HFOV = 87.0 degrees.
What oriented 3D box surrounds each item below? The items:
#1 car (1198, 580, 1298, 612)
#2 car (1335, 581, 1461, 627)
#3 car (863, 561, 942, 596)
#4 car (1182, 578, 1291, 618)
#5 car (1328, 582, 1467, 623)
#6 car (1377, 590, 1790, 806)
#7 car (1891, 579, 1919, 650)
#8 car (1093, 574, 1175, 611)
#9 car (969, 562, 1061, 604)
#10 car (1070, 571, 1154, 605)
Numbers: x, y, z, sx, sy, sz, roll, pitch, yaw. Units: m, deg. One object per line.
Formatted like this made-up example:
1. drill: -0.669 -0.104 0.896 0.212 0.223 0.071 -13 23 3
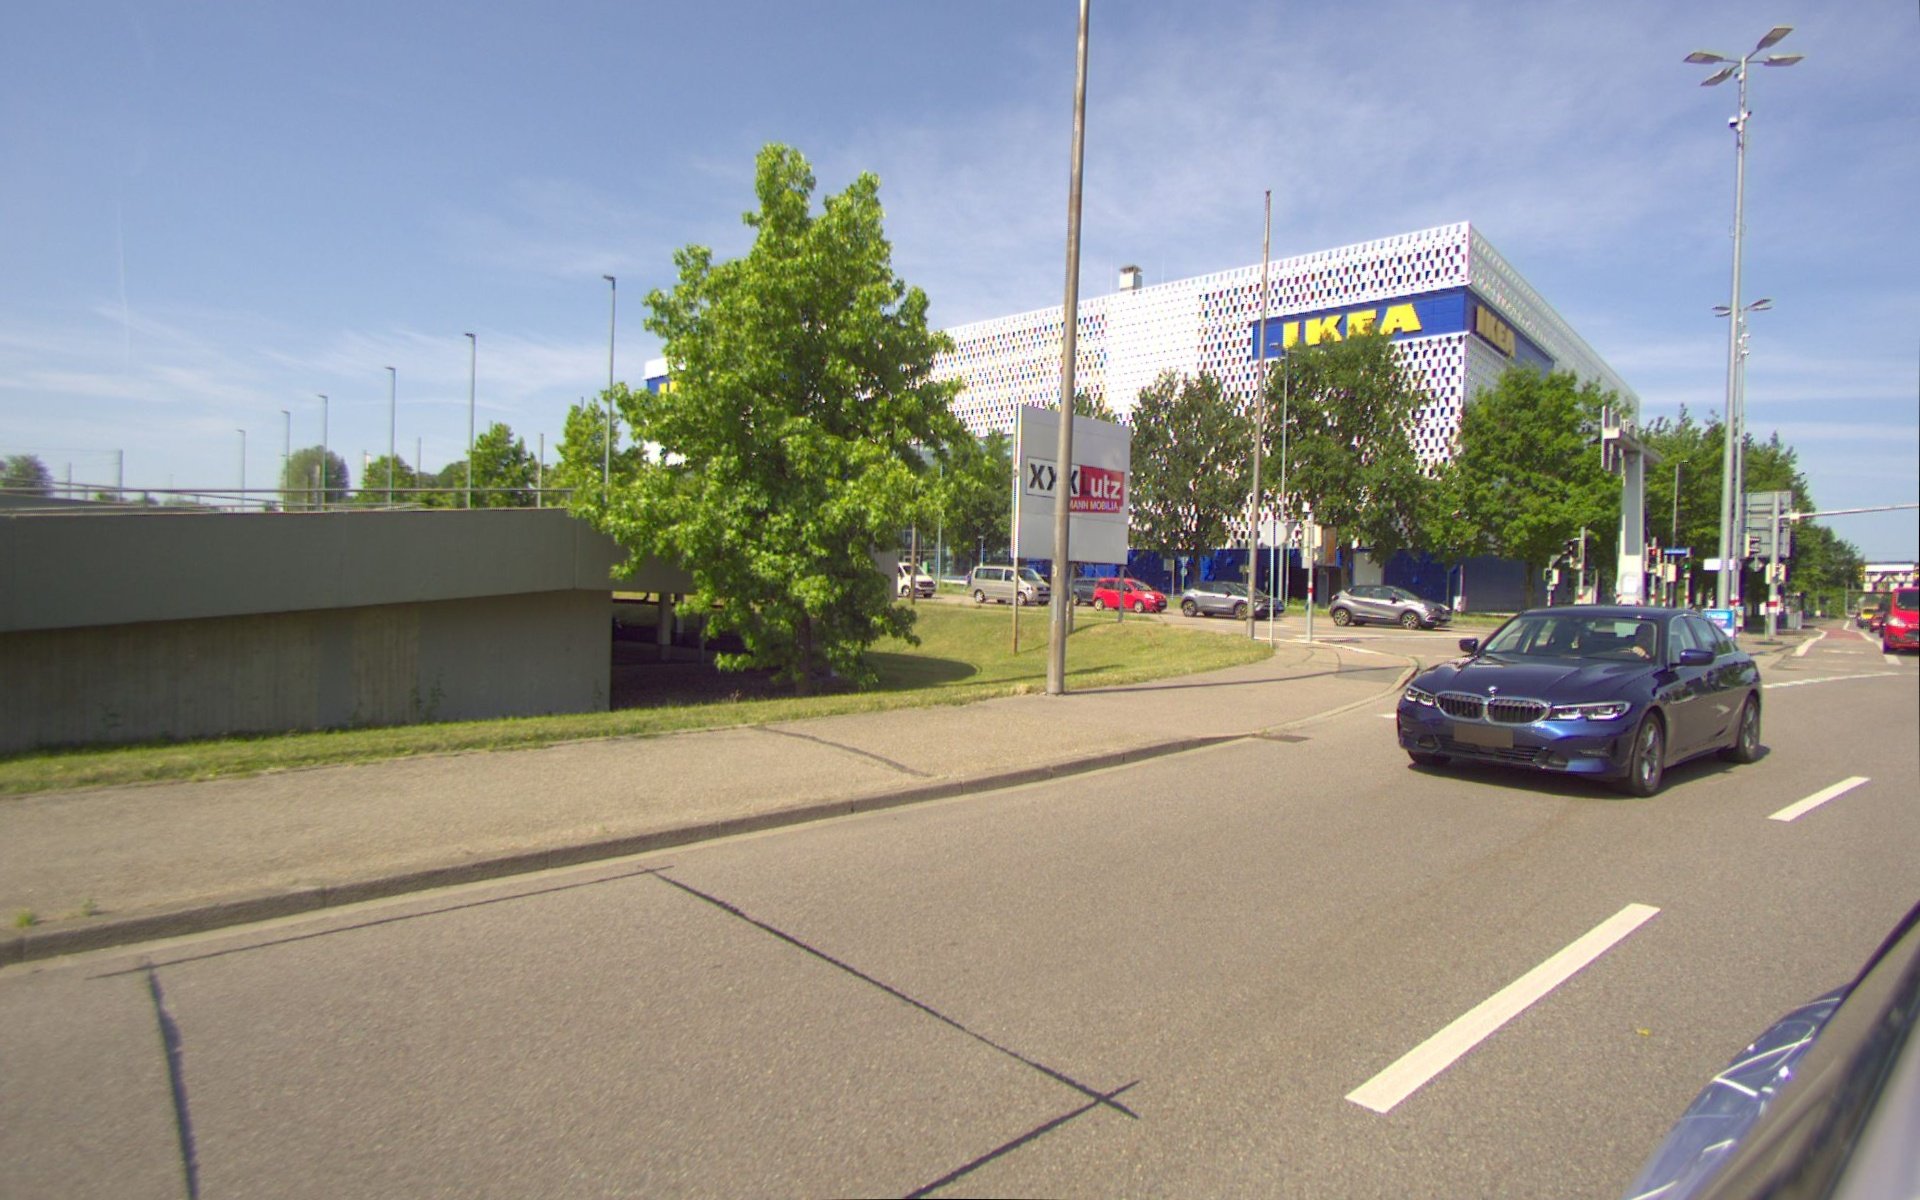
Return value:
1. car: 12.923 -0.216 45.600 1.696 1.359 4.047 0 2 -44
2. car: 16.160 0.116 37.426 1.778 1.578 3.889 1 1 -43
3. car: -3.360 -1.250 58.302 1.883 1.960 4.779 -1 2 -44
4. car: 11.605 -0.118 42.681 1.877 1.527 4.032 -1 3 -44
5. car: 17.415 0.044 40.426 1.927 1.443 4.721 -1 2 -44
6. car: 5.722 0.679 9.044 4.457 1.447 1.799 1 1 -40
7. car: 28.498 0.431 29.185 4.727 1.931 2.012 1 1 -42
8. car: 7.975 -0.363 46.648 1.572 1.595 3.474 1 1 -43
9. car: 2.778 -0.912 51.982 1.930 2.000 4.679 -1 3 -44
10. car: 7.641 -0.608 51.187 1.655 1.640 4.123 0 1 -42
